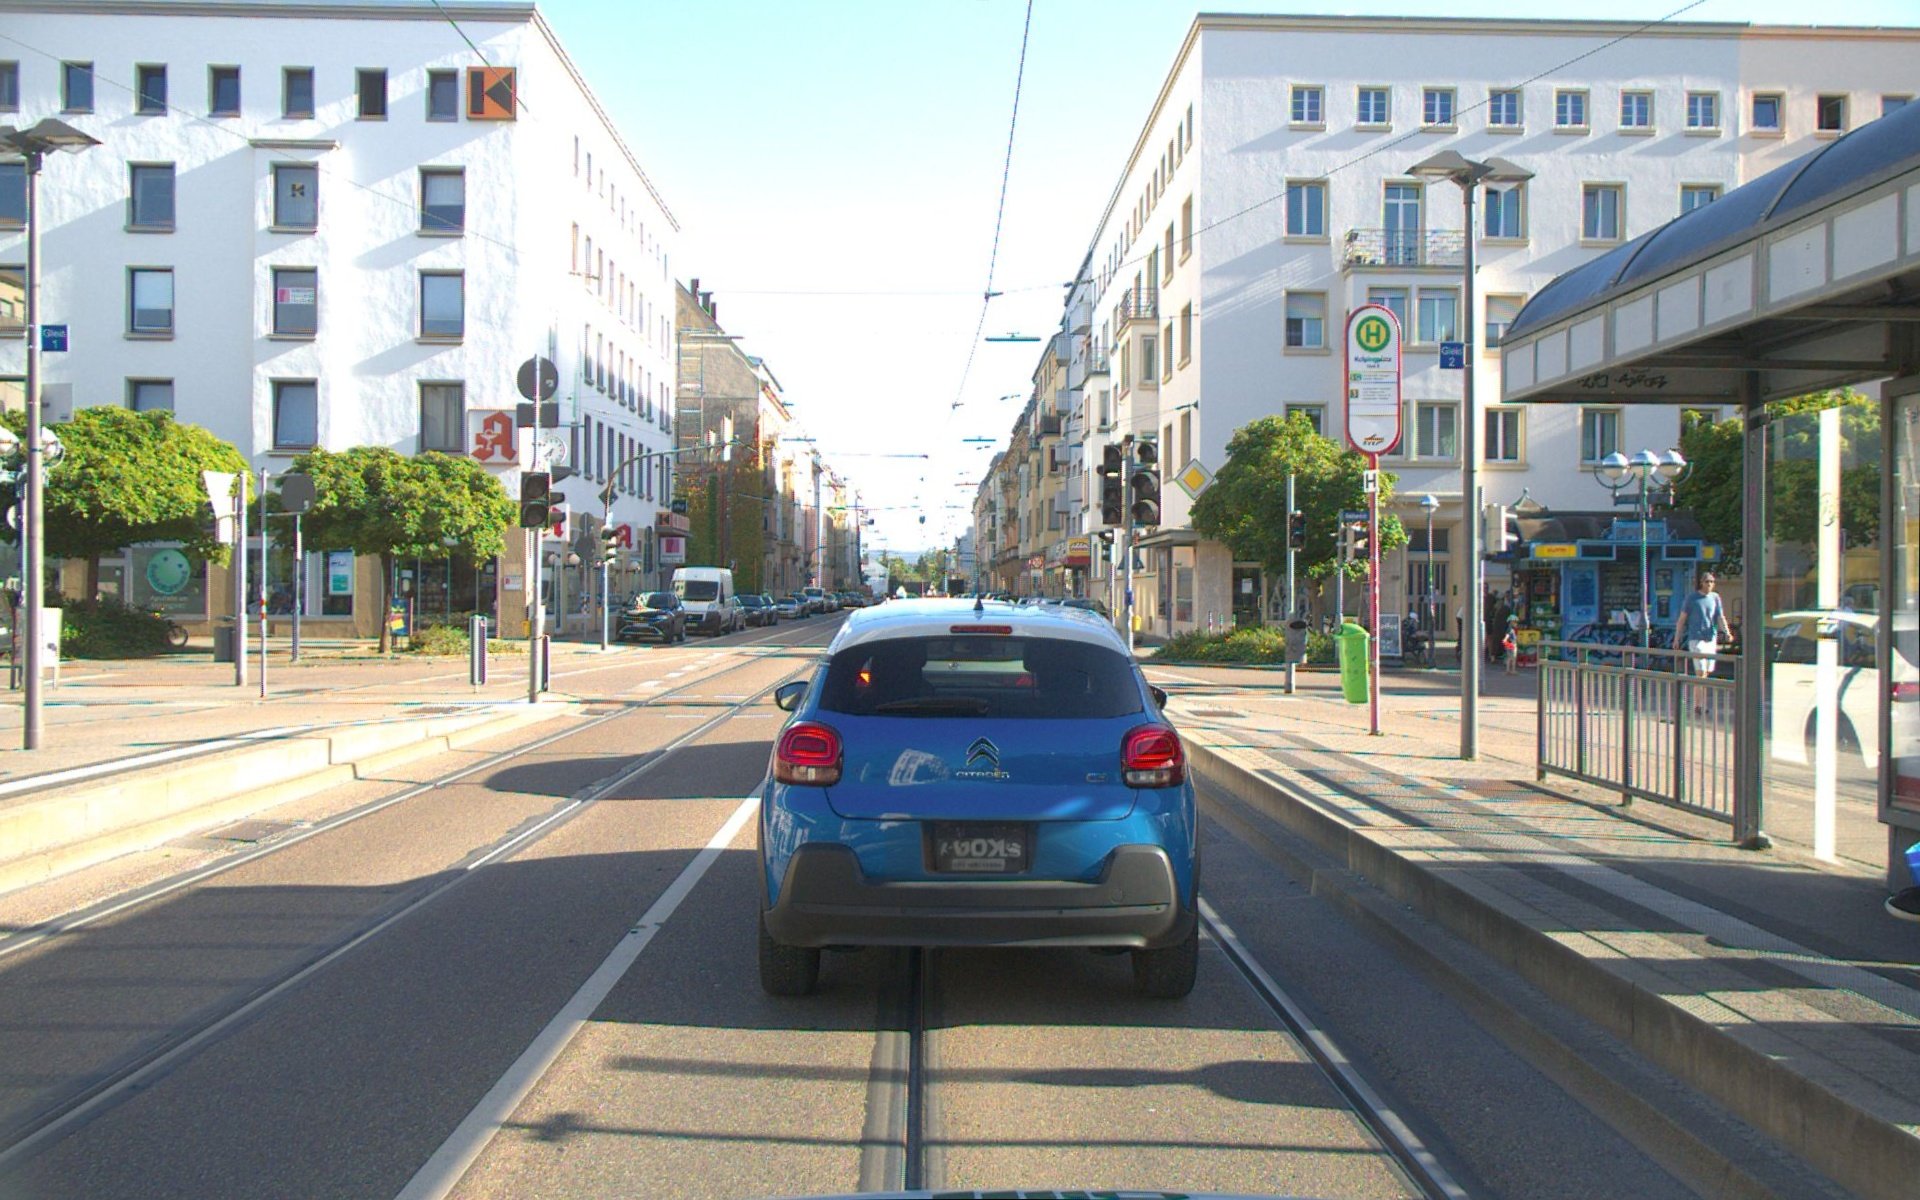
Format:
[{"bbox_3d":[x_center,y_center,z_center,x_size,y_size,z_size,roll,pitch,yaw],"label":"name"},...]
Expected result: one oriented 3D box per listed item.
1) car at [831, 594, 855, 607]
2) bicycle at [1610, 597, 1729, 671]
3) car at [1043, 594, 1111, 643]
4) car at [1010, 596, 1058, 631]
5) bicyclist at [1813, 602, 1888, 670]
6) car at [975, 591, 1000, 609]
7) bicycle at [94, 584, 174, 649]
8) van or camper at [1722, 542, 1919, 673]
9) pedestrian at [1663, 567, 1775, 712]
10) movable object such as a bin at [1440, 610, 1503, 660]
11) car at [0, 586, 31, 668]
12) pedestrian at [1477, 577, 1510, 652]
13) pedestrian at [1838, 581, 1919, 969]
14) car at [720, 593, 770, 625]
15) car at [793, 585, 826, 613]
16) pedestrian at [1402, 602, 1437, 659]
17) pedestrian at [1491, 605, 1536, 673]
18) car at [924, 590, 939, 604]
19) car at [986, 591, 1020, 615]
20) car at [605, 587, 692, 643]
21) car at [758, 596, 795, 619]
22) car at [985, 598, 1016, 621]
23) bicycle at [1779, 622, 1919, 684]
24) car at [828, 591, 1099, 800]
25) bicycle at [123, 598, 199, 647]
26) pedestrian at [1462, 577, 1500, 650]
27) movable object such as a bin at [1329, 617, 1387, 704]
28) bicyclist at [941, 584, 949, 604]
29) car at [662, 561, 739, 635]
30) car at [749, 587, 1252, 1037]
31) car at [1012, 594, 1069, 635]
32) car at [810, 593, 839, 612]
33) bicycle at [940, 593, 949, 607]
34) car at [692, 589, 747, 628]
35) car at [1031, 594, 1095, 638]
[{"bbox_3d":[-10.887,0.015,154.016,1.953,1.176,4.000,0,0,0],"label":"car"},{"bbox_3d":[15.892,0.765,37.082,2.336,1.558,0.726,2,0,-2],"label":"bicycle"},{"bbox_3d":[3.679,0.570,52.553,1.870,1.489,4.000,0,0,0],"label":"car"},{"bbox_3d":[3.237,0.591,72.978,1.953,1.489,4.000,0,0,0],"label":"car"},{"bbox_3d":[17.046,0.672,31.683,0.911,1.247,0.954,2,0,4],"label":"bicyclist"},{"bbox_3d":[2.180,-0.006,133.217,1.953,1.489,4.000,0,0,0],"label":"car"},{"bbox_3d":[-21.333,0.403,42.779,0.605,1.635,2.621,0,0,3],"label":"bicycle"},{"bbox_3d":[20.983,0.134,36.782,6.976,2.795,2.371,0,1,0],"label":"van or camper"},{"bbox_3d":[10.271,0.532,22.416,0.961,1.910,1.128,0,-1,-3],"label":"pedestrian"},{"bbox_3d":[12.489,0.847,40.421,1.174,1.173,1.217,0,0,0],"label":"movable object such as a bin"},{"bbox_3d":[-22.385,0.571,35.419,3.906,1.736,1.825,0,0,-2],"label":"car"},{"bbox_3d":[13.456,0.372,41.695,0.639,1.871,0.659,0,0,2],"label":"pedestrian"},{"bbox_3d":[3.595,0.587,5.340,0.978,1.246,0.923,3,-1,-1],"label":"pedestrian"},{"bbox_3d":[-10.102,0.432,77.973,1.953,1.422,4.155,1,0,-2],"label":"car"},{"bbox_3d":[-11.493,-0.057,126.530,1.965,2.049,4.690,1,0,1],"label":"car"},{"bbox_3d":[10.901,0.715,39.227,0.725,1.339,0.628,0,0,22],"label":"pedestrian"},{"bbox_3d":[12.273,0.864,36.713,0.715,1.434,0.755,0,3,-1],"label":"pedestrian"},{"bbox_3d":[-3.684,-0.388,215.285,1.953,1.803,3.999,0,0,-1],"label":"car"},{"bbox_3d":[2.601,0.180,101.868,1.953,1.489,4.504,0,0,0],"label":"car"},{"bbox_3d":[-9.789,0.468,52.250,1.953,1.596,4.401,3,0,-2],"label":"car"},{"bbox_3d":[-11.416,0.456,103.016,1.953,1.348,3.921,1,0,-2],"label":"car"},{"bbox_3d":[2.567,0.589,106.315,1.952,1.489,4.000,0,0,1],"label":"car"},{"bbox_3d":[17.014,1.006,31.677,2.267,1.080,0.721,2,0,3],"label":"bicycle"},{"bbox_3d":[-0.013,0.691,14.463,1.944,1.490,4.814,1,0,-1],"label":"car"},{"bbox_3d":[-20.624,0.563,42.766,0.605,1.211,2.621,0,0,2],"label":"bicycle"},{"bbox_3d":[13.430,0.346,42.632,0.768,1.871,0.678,0,0,2],"label":"pedestrian"},{"bbox_3d":[3.741,0.565,15.561,0.439,0.800,0.489,0,0,2],"label":"movable object such as a bin"},{"bbox_3d":[-1.590,-0.589,171.595,0.793,2.049,0.922,1,-1,-3],"label":"bicyclist"},{"bbox_3d":[-9.733,-0.076,62.519,2.043,2.586,6.203,1,0,-2],"label":"car"},{"bbox_3d":[0.110,0.722,7.567,1.693,1.508,3.826,1,0,-1],"label":"car"},{"bbox_3d":[3.036,0.527,62.962,1.953,1.527,4.000,0,0,0],"label":"car"},{"bbox_3d":[-11.198,0.213,136.611,1.914,1.579,3.939,1,0,1],"label":"car"},{"bbox_3d":[-1.583,-0.009,172.007,0.901,1.413,3.131,0,0,-1],"label":"bicycle"},{"bbox_3d":[-10.045,0.358,69.313,1.850,1.522,3.560,1,0,-2],"label":"car"},{"bbox_3d":[3.528,0.539,57.405,1.953,1.489,4.000,0,0,0],"label":"car"}]
